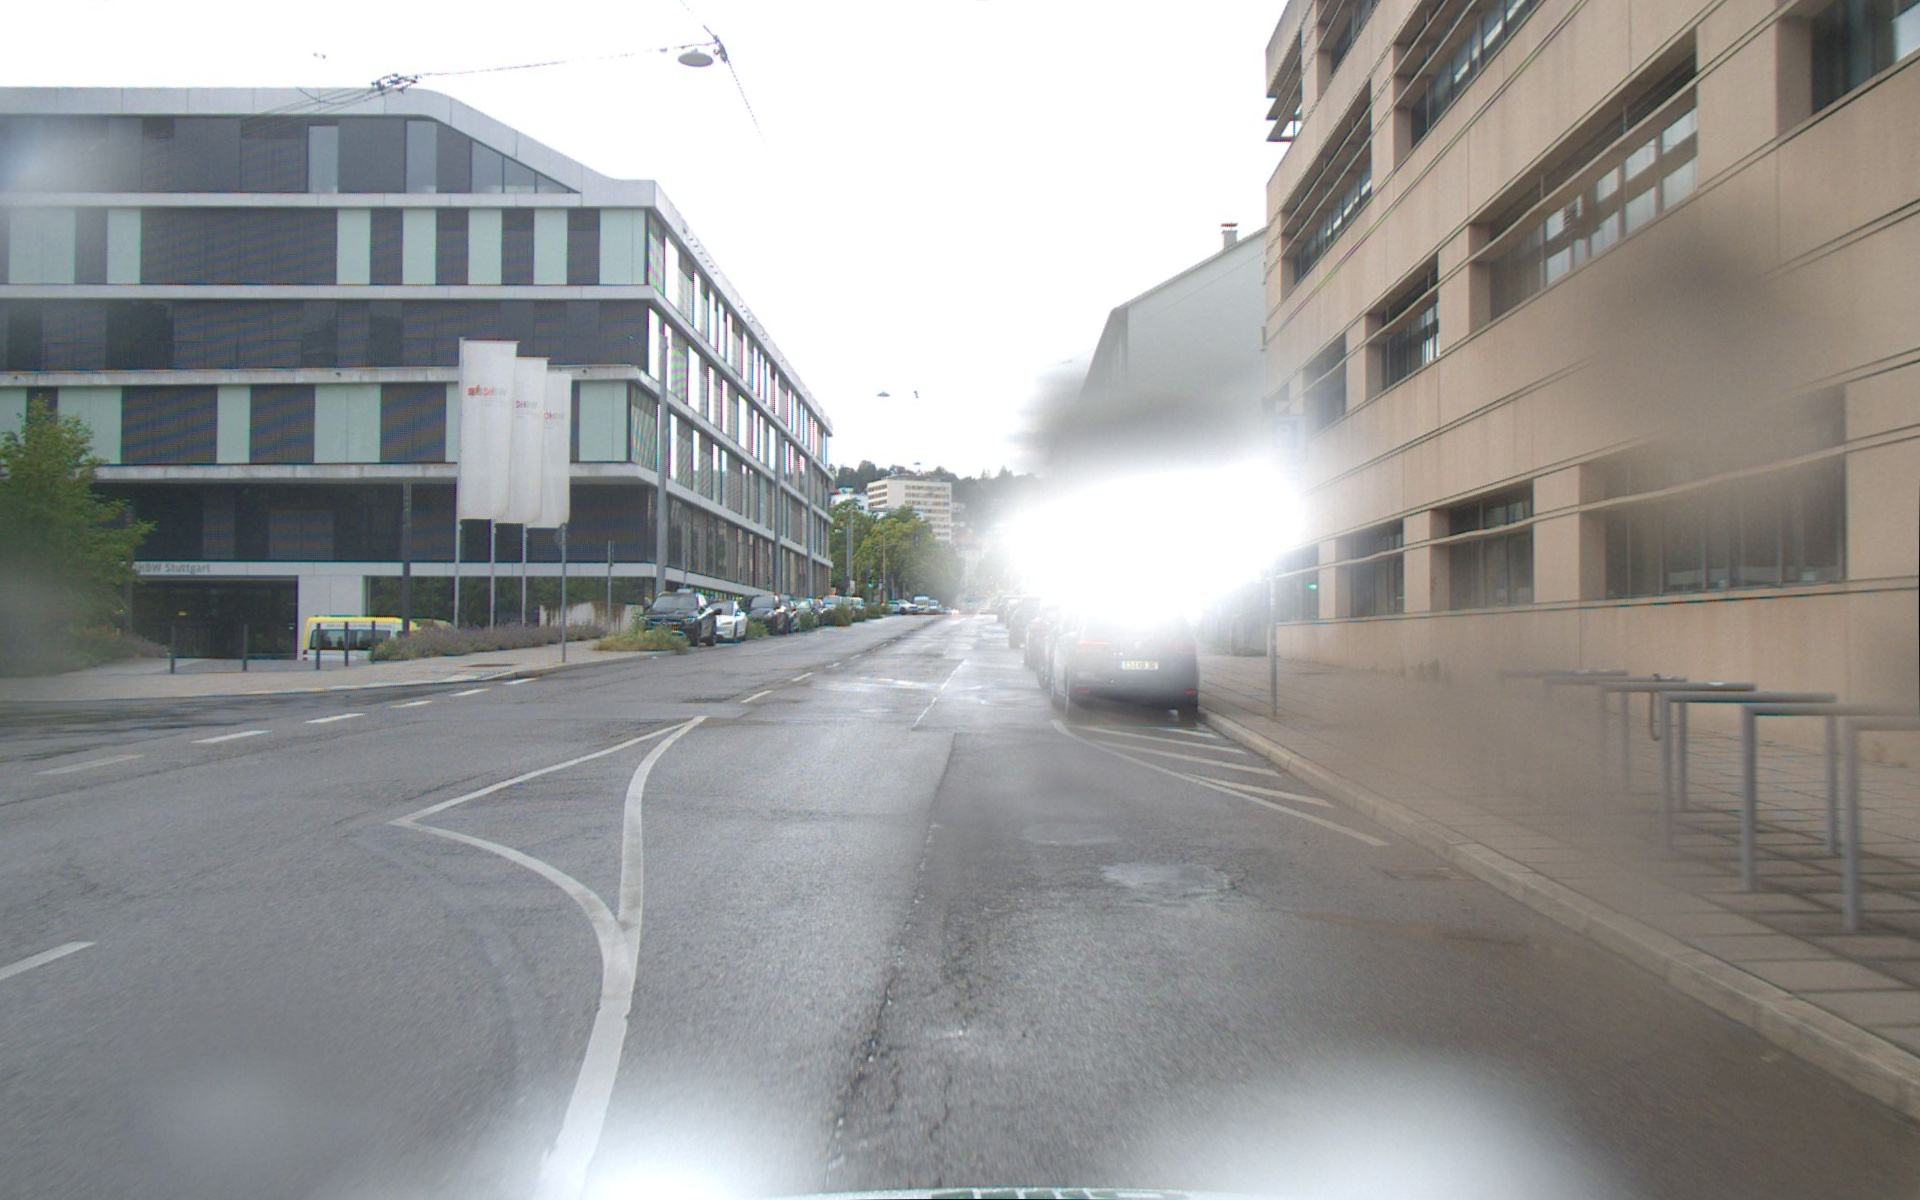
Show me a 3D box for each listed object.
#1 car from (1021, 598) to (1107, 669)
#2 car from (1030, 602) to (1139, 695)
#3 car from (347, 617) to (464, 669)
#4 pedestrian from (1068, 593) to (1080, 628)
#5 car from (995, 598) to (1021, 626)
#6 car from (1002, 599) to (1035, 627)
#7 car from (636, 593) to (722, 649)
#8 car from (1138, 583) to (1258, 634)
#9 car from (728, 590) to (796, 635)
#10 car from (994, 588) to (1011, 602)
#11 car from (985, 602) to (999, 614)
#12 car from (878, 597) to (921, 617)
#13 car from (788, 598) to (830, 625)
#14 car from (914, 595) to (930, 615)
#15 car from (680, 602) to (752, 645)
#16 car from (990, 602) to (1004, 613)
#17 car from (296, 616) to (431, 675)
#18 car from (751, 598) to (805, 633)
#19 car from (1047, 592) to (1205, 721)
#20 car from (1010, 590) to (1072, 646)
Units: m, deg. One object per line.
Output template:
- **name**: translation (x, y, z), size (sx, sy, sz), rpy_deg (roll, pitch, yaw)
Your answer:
- **car**: translation (2.399, 0.757, 39.118), size (1.707, 1.560, 4.319), rpy_deg (1, 0, -1)
- **car**: translation (2.222, 0.851, 30.428), size (1.690, 1.539, 4.057), rpy_deg (2, -1, 0)
- **car**: translation (-22.736, 1.748, 67.913), size (4.252, 2.068, 1.598), rpy_deg (1, -1, 0)
- **pedestrian**: translation (6.315, 0.576, 91.587), size (0.625, 1.903, 0.539), rpy_deg (1, -1, 3)
- **car**: translation (3.191, 0.796, 110.947), size (1.621, 1.768, 4.180), rpy_deg (0, 0, 1)
- **car**: translation (3.190, 0.708, 90.356), size (1.671, 1.480, 3.985), rpy_deg (1, 0, 1)
- **car**: translation (-8.660, 0.642, 51.344), size (1.811, 1.646, 4.491), rpy_deg (1, 0, 1)
- **car**: translation (9.254, 0.331, 64.514), size (4.347, 1.742, 1.905), rpy_deg (-3, 0, 0)
- **car**: translation (-8.124, 0.512, 68.189), size (1.921, 1.781, 4.943), rpy_deg (1, 0, 3)
- **car**: translation (5.091, -0.557, 197.903), size (1.827, 1.632, 4.191), rpy_deg (1, 0, 4)
- **car**: translation (4.674, 1.149, 240.788), size (1.827, 1.632, 4.191), rpy_deg (1, 0, 4)
- **car**: translation (-5.889, 0.739, 160.749), size (4.128, 1.698, 1.631), rpy_deg (-3, -5, 41)
- **car**: translation (-8.199, 0.626, 90.014), size (1.799, 1.420, 4.392), rpy_deg (1, 0, 1)
- **car**: translation (-5.065, 0.708, 218.311), size (2.062, 2.591, 4.749), rpy_deg (1, -1, -1)
- **car**: translation (-8.529, 0.797, 58.045), size (1.783, 1.443, 4.402), rpy_deg (1, 0, 1)
- **car**: translation (5.194, 1.056, 232.609), size (1.827, 1.632, 4.191), rpy_deg (1, 0, 4)
- **car**: translation (-22.994, 1.742, 63.858), size (4.500, 2.212, 1.929), rpy_deg (1, -1, -5)
- **car**: translation (-8.116, 0.689, 74.140), size (1.832, 1.498, 4.741), rpy_deg (1, 0, 1)
- **car**: translation (2.243, 0.733, 23.327), size (1.735, 1.632, 4.394), rpy_deg (1, 0, -1)
- **car**: translation (2.704, 0.596, 56.049), size (1.895, 1.781, 4.797), rpy_deg (1, 0, 1)
